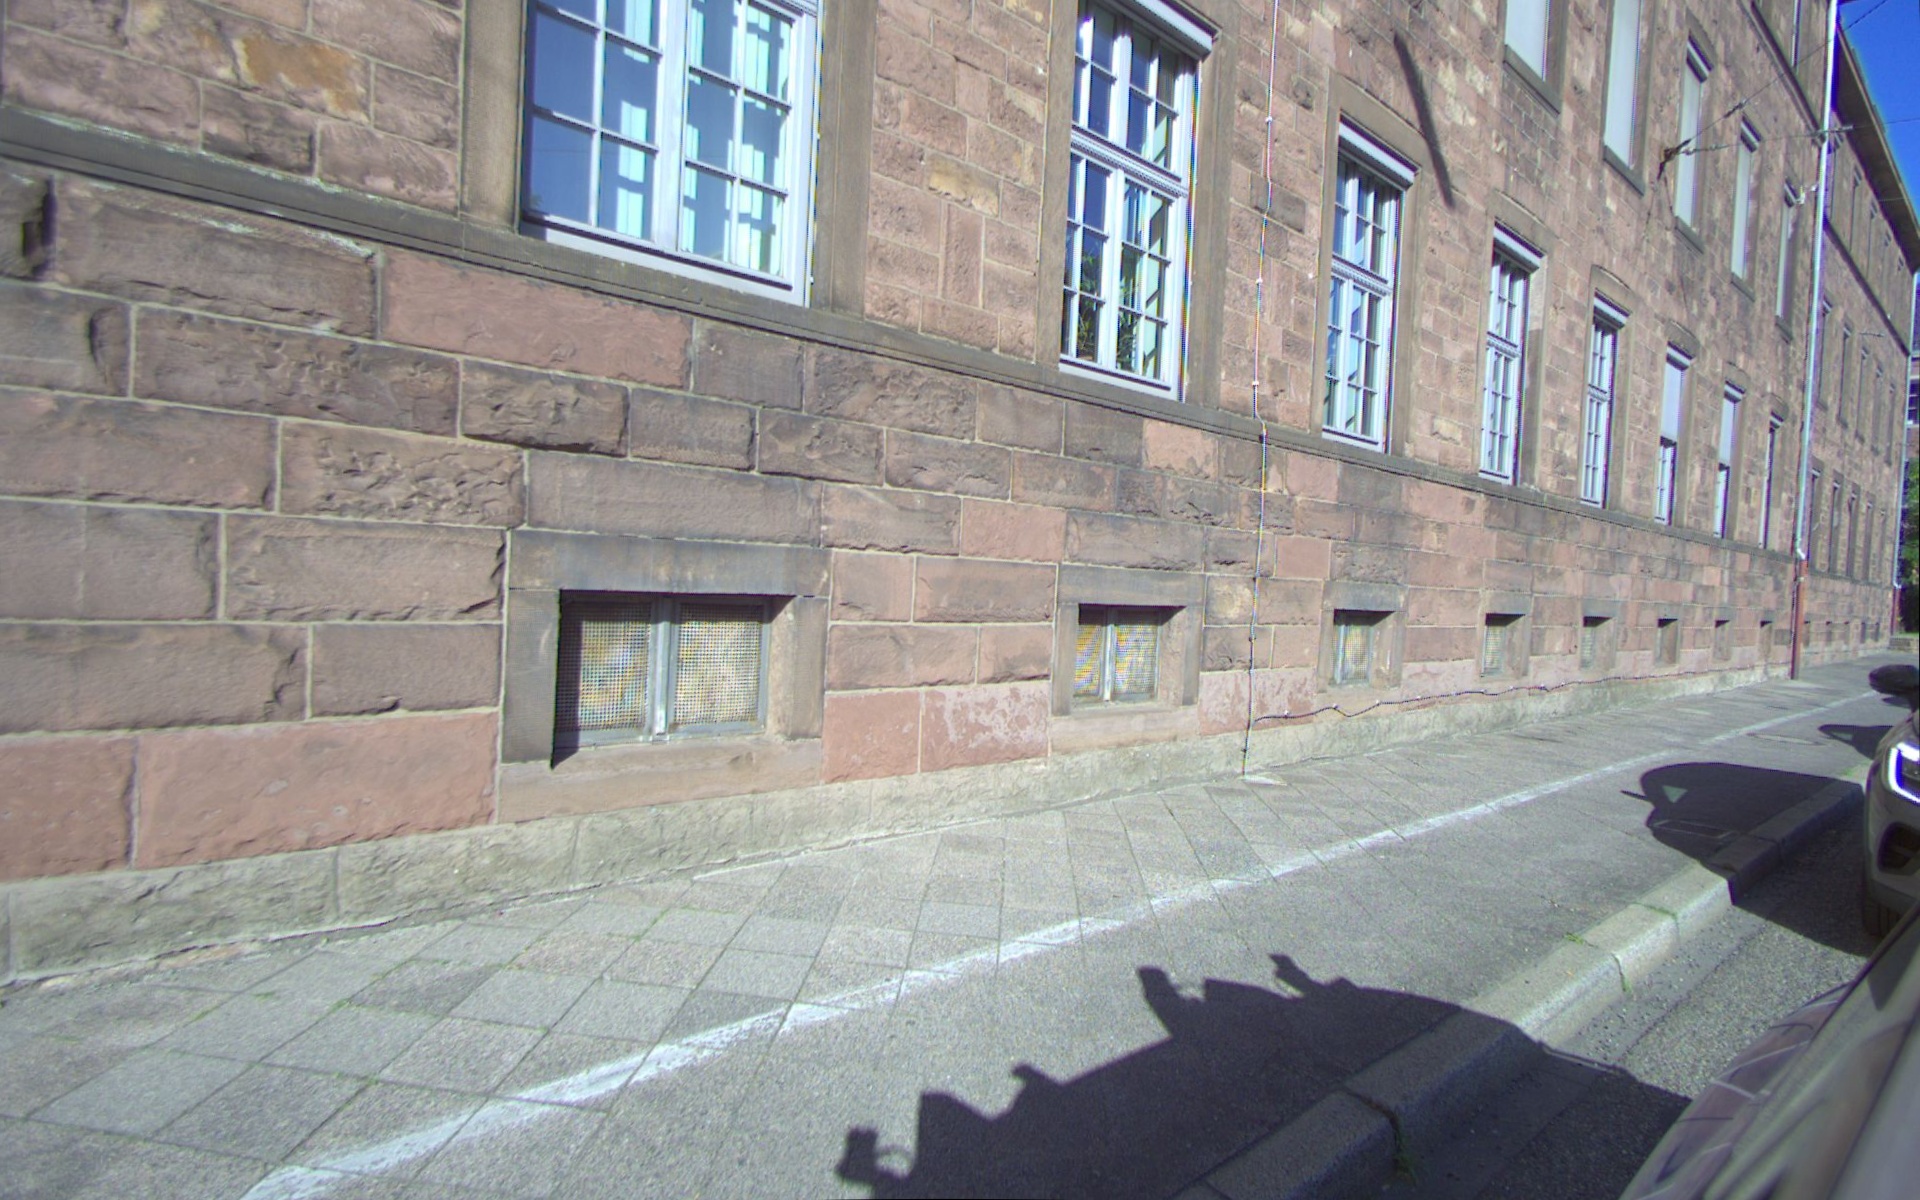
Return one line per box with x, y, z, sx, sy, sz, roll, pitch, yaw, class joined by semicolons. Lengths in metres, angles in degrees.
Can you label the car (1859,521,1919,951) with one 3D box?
5.490;0.554;4.563;3.735;1.624;1.793;1;1;-43;car
